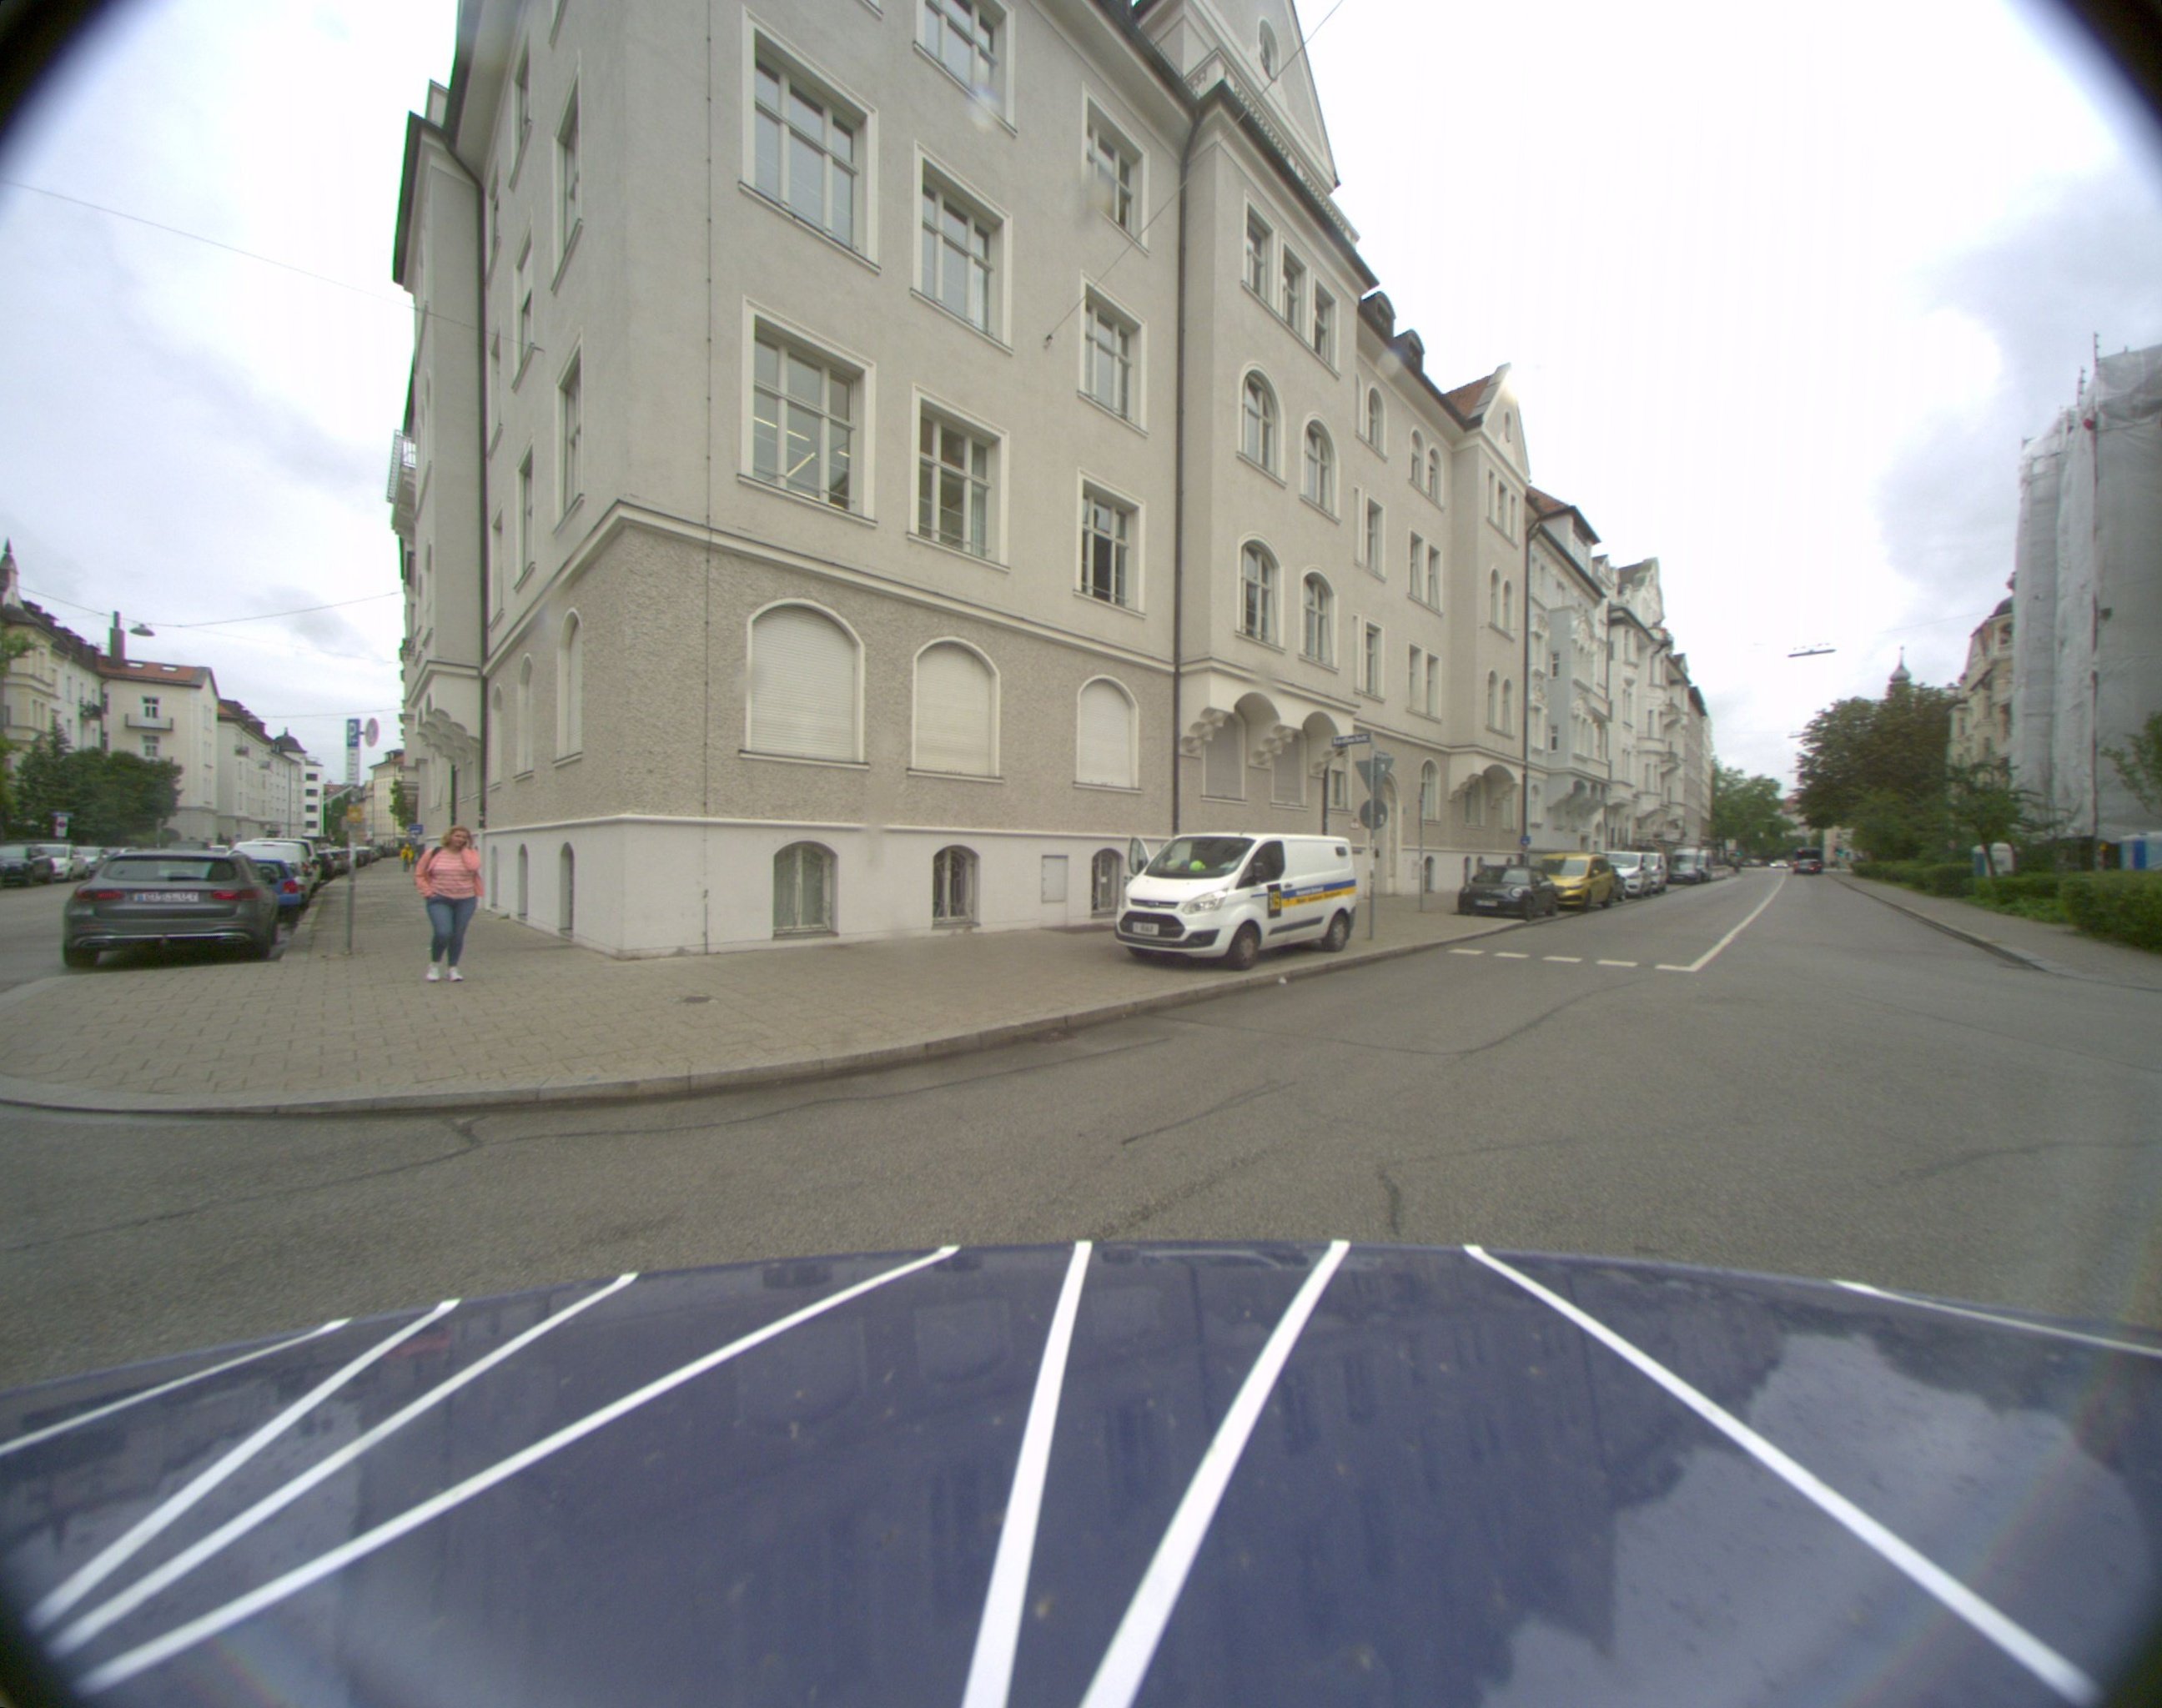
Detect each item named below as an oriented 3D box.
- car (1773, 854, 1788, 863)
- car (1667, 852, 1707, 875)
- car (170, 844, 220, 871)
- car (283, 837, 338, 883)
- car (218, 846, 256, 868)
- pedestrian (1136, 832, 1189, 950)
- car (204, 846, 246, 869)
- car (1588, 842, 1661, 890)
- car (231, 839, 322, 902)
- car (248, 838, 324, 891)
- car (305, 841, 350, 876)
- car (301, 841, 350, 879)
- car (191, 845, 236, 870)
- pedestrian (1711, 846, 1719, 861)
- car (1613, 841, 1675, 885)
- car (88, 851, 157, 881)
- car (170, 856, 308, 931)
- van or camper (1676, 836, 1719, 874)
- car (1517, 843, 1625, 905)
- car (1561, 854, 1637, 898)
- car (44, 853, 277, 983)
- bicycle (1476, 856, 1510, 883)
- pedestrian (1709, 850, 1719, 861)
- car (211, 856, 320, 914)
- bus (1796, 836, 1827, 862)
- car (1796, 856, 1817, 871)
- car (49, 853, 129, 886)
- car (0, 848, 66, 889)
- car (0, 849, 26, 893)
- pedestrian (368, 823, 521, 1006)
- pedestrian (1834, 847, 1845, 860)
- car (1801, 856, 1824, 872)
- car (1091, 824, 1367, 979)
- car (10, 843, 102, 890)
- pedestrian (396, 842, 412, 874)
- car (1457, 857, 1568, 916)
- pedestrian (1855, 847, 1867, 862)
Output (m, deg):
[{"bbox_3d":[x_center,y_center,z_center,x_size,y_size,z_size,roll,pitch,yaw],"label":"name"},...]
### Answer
[{"bbox_3d":[130.019,0.885,141.141,1.923,1.608,4.008,1,1,45],"label":"car"},{"bbox_3d":[40.581,0.622,50.840,1.754,1.426,4.096,1,1,42],"label":"car"},{"bbox_3d":[-61.524,0.200,52.838,1.779,1.792,4.331,0,1,-43],"label":"car"},{"bbox_3d":[-39.670,0.271,39.166,1.896,2.244,4.408,1,0,-45],"label":"car"},{"bbox_3d":[-71.744,0.252,64.612,1.779,1.792,4.331,0,1,-43],"label":"car"},{"bbox_3d":[1.339,0.589,12.533,0.677,1.877,0.591,0,1,-17],"label":"pedestrian"},{"bbox_3d":[-68.382,0.241,60.749,1.779,1.792,4.331,0,1,-43],"label":"car"},{"bbox_3d":[23.515,0.464,32.803,1.960,1.926,5.004,2,1,42],"label":"car"},{"bbox_3d":[-25.998,0.476,24.665,4.408,1.842,1.896,1,0,45],"label":"car"},{"bbox_3d":[-30.309,0.351,29.061,4.408,1.872,1.896,1,0,45],"label":"car"},{"bbox_3d":[-45.992,0.271,46.405,1.896,2.024,4.408,1,0,-45],"label":"car"},{"bbox_3d":[-42.794,0.312,43.048,1.896,2.024,4.408,1,0,-45],"label":"car"},{"bbox_3d":[-65.083,0.224,57.059,1.779,1.792,4.331,0,1,-43],"label":"car"},{"bbox_3d":[77.030,-0.055,92.322,0.658,1.723,0.685,2,2,44],"label":"pedestrian"},{"bbox_3d":[27.845,0.393,37.523,1.960,2.002,5.004,2,1,42],"label":"car"},{"bbox_3d":[-50.203,0.594,39.875,4.054,1.436,1.779,1,1,45],"label":"car"},{"bbox_3d":[-19.203,0.808,17.507,4.408,1.455,1.896,1,0,45],"label":"car"},{"bbox_3d":[44.913,0.010,55.325,1.954,2.622,5.470,1,1,44],"label":"van or camper"},{"bbox_3d":[16.059,0.571,24.799,4.831,1.842,1.851,0,1,-43],"label":"car"},{"bbox_3d":[19.437,0.768,28.457,3.791,1.476,1.632,-1,2,-45],"label":"car"},{"bbox_3d":[-14.002,0.819,11.833,4.408,1.607,1.896,1,0,45],"label":"car"},{"bbox_3d":[18.034,0.669,33.238,0.694,1.087,2.041,4,3,45],"label":"bicycle"},{"bbox_3d":[74.506,0.160,89.455,0.860,1.344,0.864,2,2,44],"label":"pedestrian"},{"bbox_3d":[-22.378,0.777,21.006,4.408,1.367,1.896,1,0,45],"label":"car"},{"bbox_3d":[91.463,-0.622,95.161,2.580,3.083,8.941,2,2,44],"label":"bus"},{"bbox_3d":[78.714,1.016,82.466,1.584,1.471,3.790,2,2,43],"label":"car"},{"bbox_3d":[-46.818,0.668,35.948,4.054,1.436,1.779,1,1,45],"label":"car"},{"bbox_3d":[-39.960,0.524,28.464,4.054,1.436,1.779,1,1,45],"label":"car"},{"bbox_3d":[-37.047,0.558,25.200,4.054,1.436,1.779,1,1,45],"label":"car"},{"bbox_3d":[-7.057,0.610,8.525,1.214,1.862,1.088,-1,1,-35],"label":"pedestrian"},{"bbox_3d":[118.430,-0.134,118.650,1.399,2.002,0.950,-1,2,-37],"label":"pedestrian"},{"bbox_3d":[83.332,1.118,86.554,1.768,1.635,4.283,2,2,43],"label":"car"},{"bbox_3d":[2.544,0.567,12.008,1.916,1.951,4.937,3,2,43],"label":"car"},{"bbox_3d":[-43.733,0.495,32.508,4.054,1.874,1.779,1,1,45],"label":"car"},{"bbox_3d":[-42.655,0.256,47.895,0.712,2.002,0.707,-1,2,-43],"label":"pedestrian"},{"bbox_3d":[11.955,0.823,20.944,1.664,1.449,3.904,1,1,45],"label":"car"},{"bbox_3d":[90.081,0.071,87.763,0.873,1.735,0.912,1,2,43],"label":"pedestrian"}]
